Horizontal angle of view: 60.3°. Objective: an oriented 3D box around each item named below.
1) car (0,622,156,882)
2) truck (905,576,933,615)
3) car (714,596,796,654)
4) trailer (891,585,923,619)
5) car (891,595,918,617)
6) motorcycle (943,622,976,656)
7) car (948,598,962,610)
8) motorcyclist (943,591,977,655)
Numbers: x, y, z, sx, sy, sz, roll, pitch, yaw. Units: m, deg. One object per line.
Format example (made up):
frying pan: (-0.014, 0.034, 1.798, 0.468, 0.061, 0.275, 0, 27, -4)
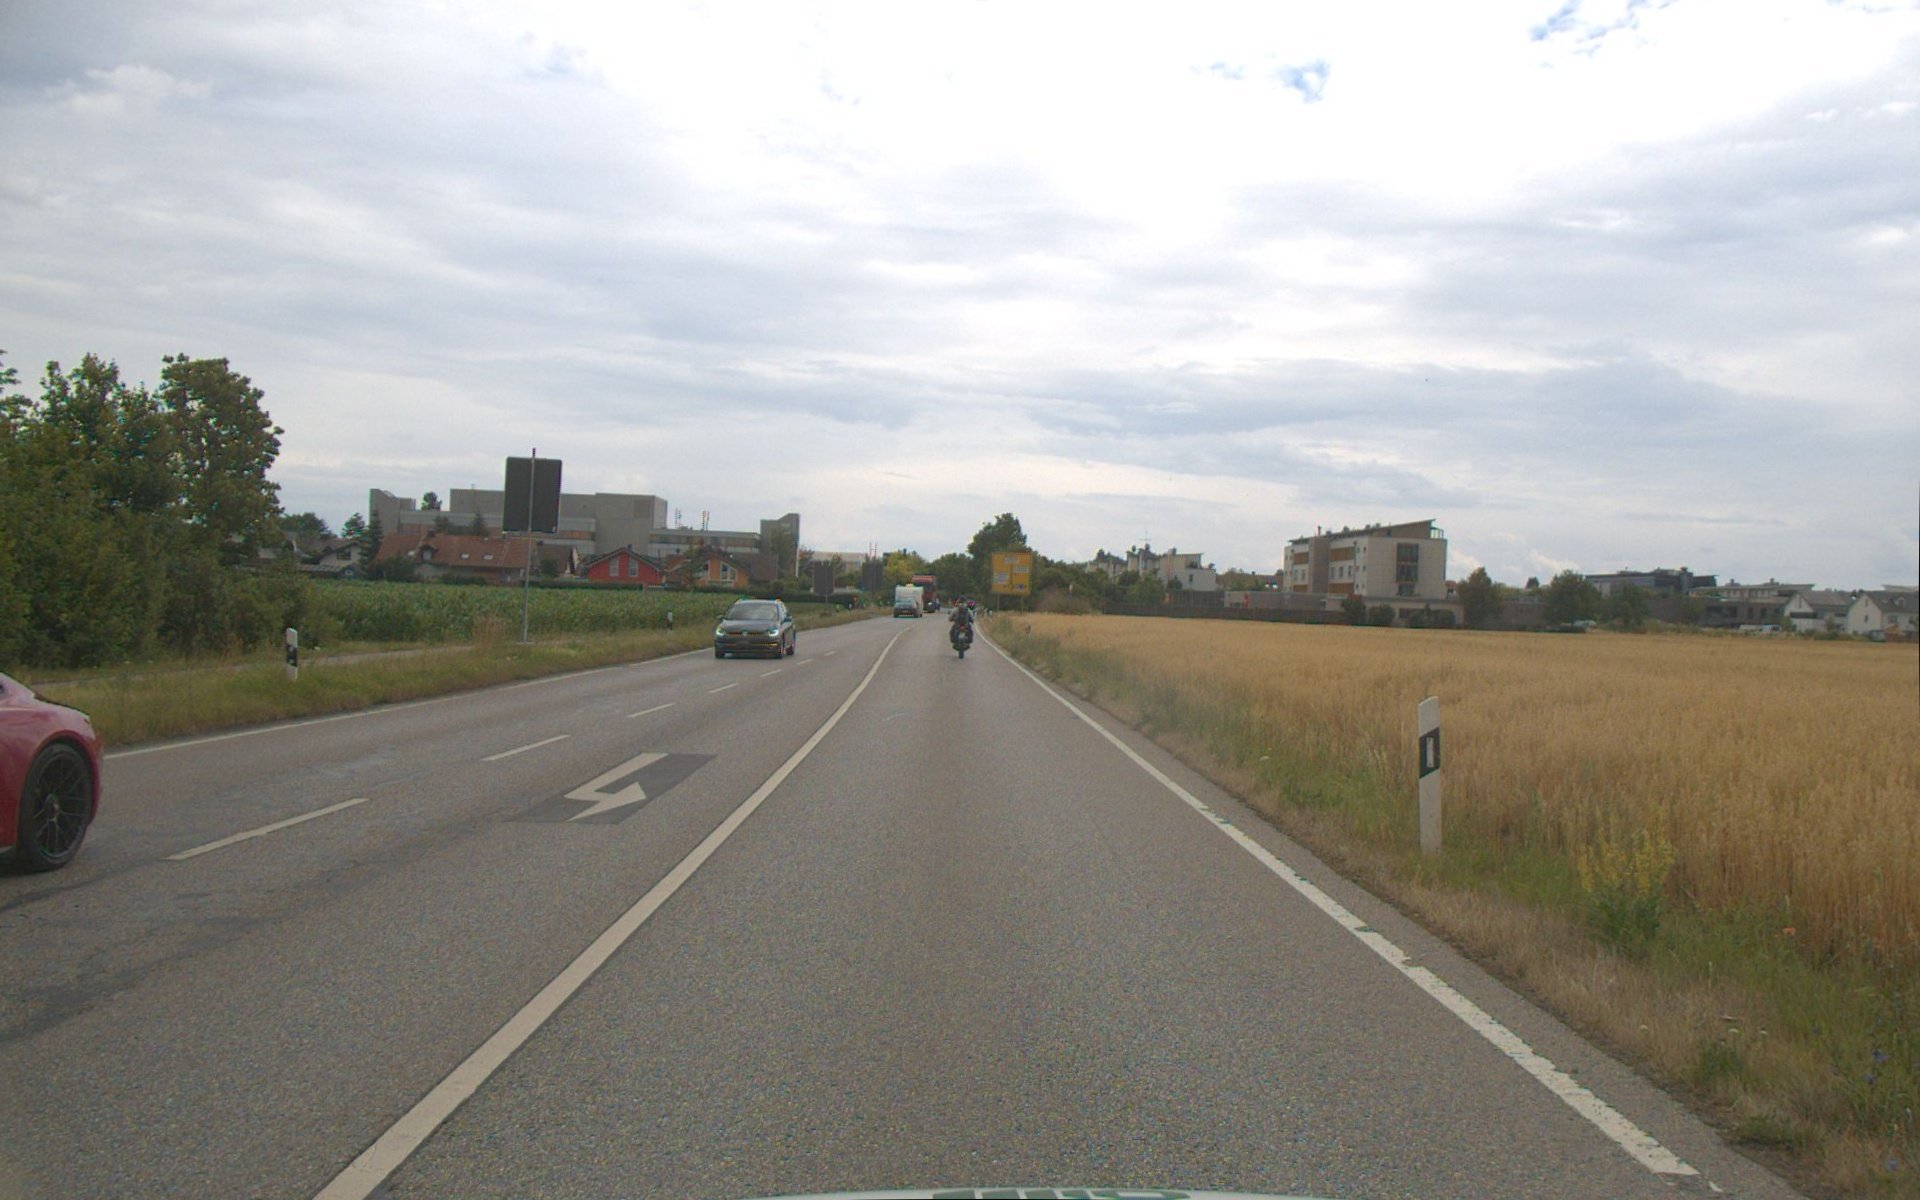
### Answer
car: (-5.681, 0.765, 7.721, 1.735, 1.262, 4.211, 1, 0, 0)
truck: (-4.498, -0.461, 182.127, 2.673, 4.057, 6.816, 1, 0, 1)
car: (-5.352, 0.628, 43.674, 1.634, 1.454, 4.302, 0, 0, 0)
trailer: (-4.502, 0.166, 140.699, 2.276, 2.777, 7.843, 2, 0, 1)
car: (-4.530, 0.500, 135.152, 1.953, 1.729, 4.675, 2, 0, 0)
motorcycle: (-0.009, 1.106, 47.761, 0.922, 0.905, 2.146, 2, 0, 0)
car: (-0.665, 0.481, 219.268, 1.817, 1.498, 4.000, 2, 0, 0)
motorcyclist: (0.003, 0.667, 47.787, 0.922, 1.780, 1.200, 2, -1, 0)
